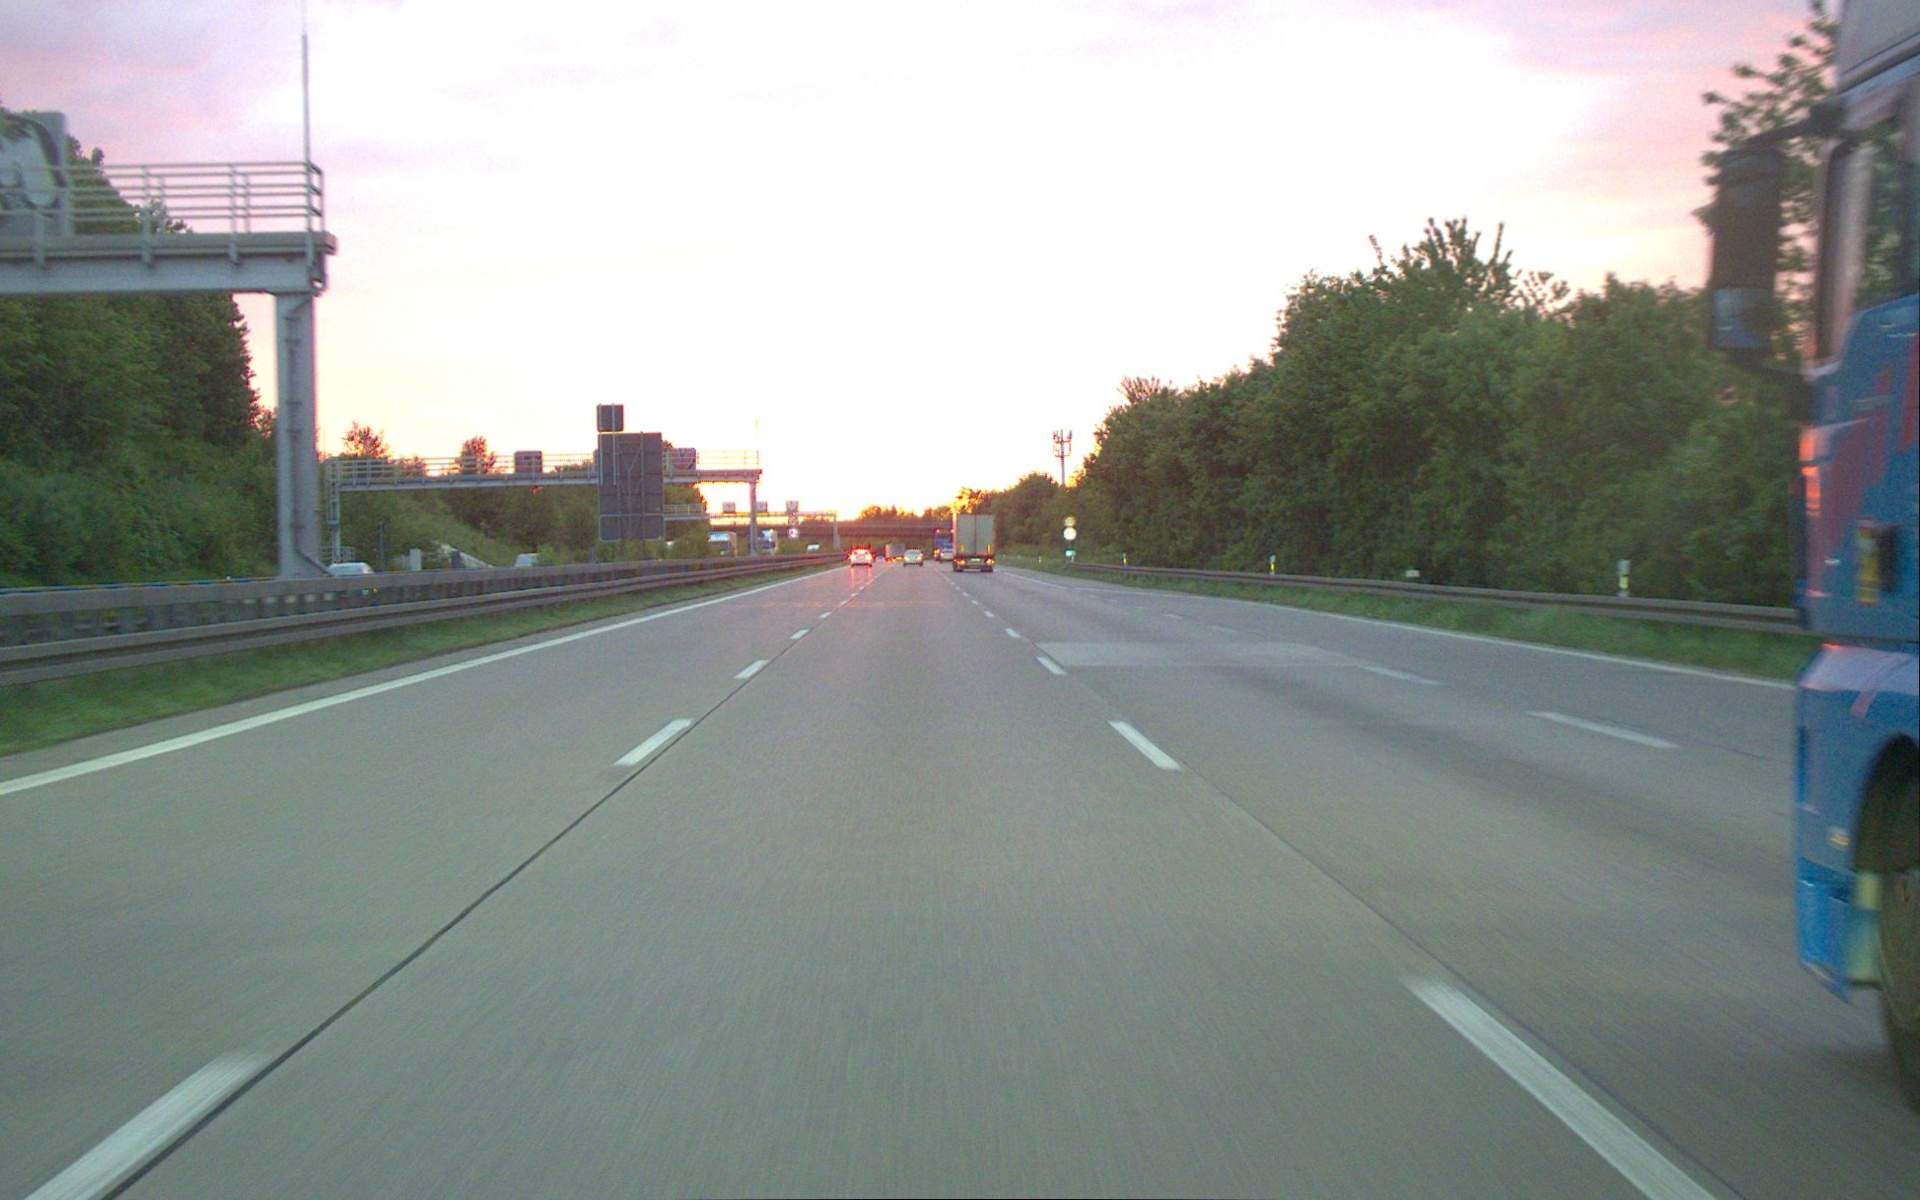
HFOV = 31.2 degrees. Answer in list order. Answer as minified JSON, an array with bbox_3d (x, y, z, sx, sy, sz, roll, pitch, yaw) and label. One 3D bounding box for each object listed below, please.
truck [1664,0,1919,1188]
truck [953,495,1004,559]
[{"bbox_3d":[3.691,-0.568,8.279,2.736,3.983,5.849,0,1,0],"label":"truck"},{"bbox_3d":[1.185,-4.810,228.464,3.244,4.113,9.787,-1,1,0],"label":"truck"}]
